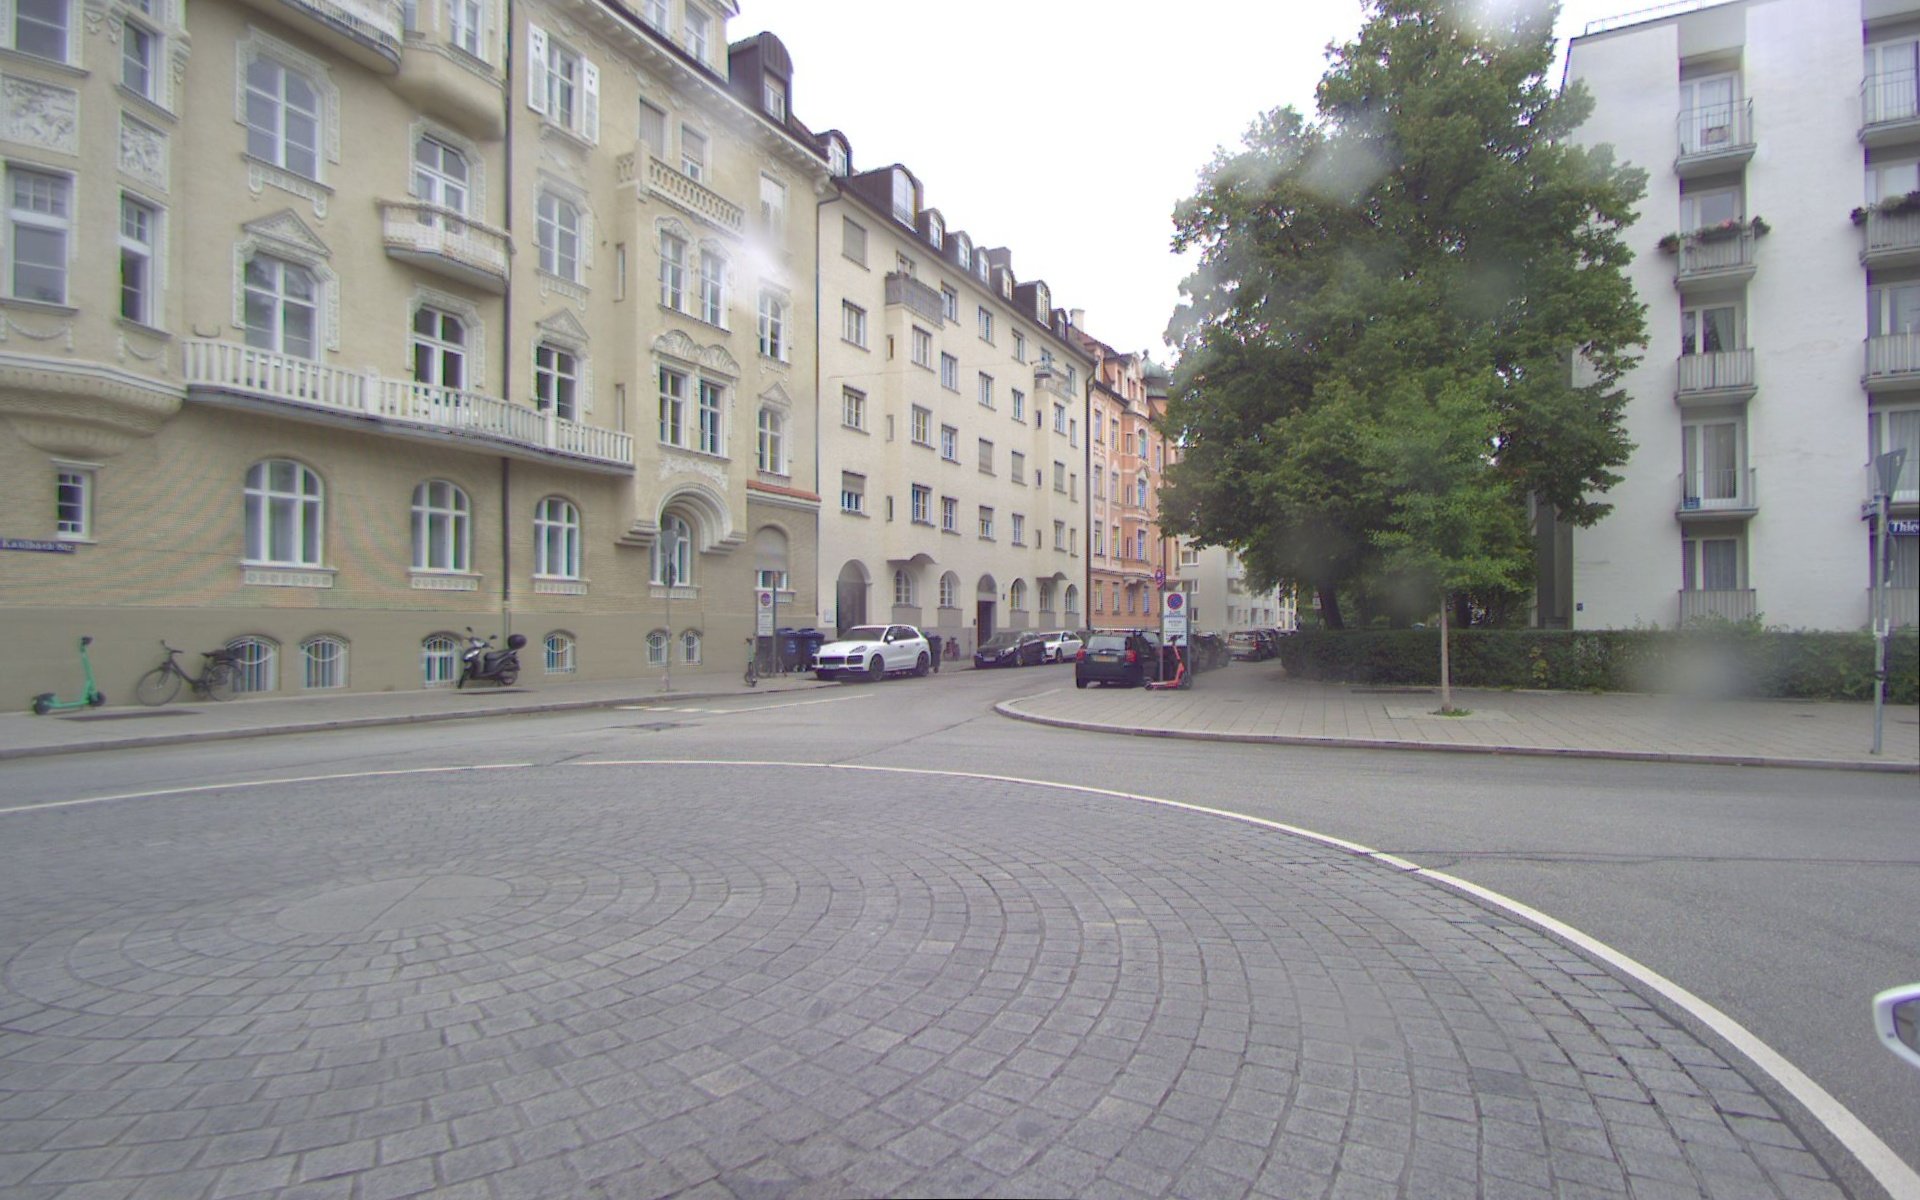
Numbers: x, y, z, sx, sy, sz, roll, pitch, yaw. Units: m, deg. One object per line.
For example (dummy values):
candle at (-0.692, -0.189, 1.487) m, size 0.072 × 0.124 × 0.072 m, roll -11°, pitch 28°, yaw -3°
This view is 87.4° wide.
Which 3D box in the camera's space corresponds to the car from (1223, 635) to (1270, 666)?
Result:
car at (14.710, 2.589, 51.476) m, size 1.644 × 1.476 × 3.673 m, roll -3°, pitch -3°, yaw 26°

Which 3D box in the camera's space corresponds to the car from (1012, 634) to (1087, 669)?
car at (4.034, 2.255, 44.707) m, size 1.963 × 1.469 × 4.176 m, roll 0°, pitch -2°, yaw 26°

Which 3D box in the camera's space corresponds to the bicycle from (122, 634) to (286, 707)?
bicycle at (-13.621, 1.230, 18.198) m, size 0.685 × 1.219 × 2.339 m, roll -1°, pitch -2°, yaw 23°

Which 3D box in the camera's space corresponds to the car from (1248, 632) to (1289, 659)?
car at (17.889, 2.615, 58.151) m, size 1.644 × 1.476 × 3.673 m, roll -3°, pitch -3°, yaw 26°

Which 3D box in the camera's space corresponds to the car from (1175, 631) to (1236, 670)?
car at (10.114, 2.058, 41.167) m, size 1.644 × 1.476 × 3.673 m, roll -3°, pitch -3°, yaw 26°

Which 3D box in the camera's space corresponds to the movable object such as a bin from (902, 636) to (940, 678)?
movable object such as a bin at (-1.337, 1.939, 34.461) m, size 0.935 × 1.419 × 0.917 m, roll 0°, pitch -2°, yaw 30°

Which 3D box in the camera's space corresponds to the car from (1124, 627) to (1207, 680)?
car at (6.539, 1.662, 31.676) m, size 1.644 × 1.548 × 3.673 m, roll -3°, pitch -3°, yaw 26°

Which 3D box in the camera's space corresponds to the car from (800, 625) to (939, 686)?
car at (-2.666, 1.637, 30.959) m, size 1.963 × 1.698 × 4.986 m, roll 0°, pitch -2°, yaw 26°

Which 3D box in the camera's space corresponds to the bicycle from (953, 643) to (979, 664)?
bicycle at (0.273, 2.415, 45.883) m, size 0.641 × 0.914 × 1.815 m, roll 0°, pitch -2°, yaw 19°

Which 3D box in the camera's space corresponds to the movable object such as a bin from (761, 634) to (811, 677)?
movable object such as a bin at (-5.719, 1.818, 33.111) m, size 1.127 × 1.389 × 1.179 m, roll -1°, pitch -2°, yaw 29°

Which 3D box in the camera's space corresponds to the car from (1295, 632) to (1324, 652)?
car at (27.160, 3.270, 77.915) m, size 1.644 × 1.476 × 3.673 m, roll -3°, pitch -3°, yaw 26°

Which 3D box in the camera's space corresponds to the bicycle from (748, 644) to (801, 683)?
bicycle at (-5.454, 1.851, 29.623) m, size 0.641 × 1.083 × 1.976 m, roll 0°, pitch -2°, yaw 19°

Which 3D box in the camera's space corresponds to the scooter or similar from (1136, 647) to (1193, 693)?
scooter or similar at (4.823, 1.645, 23.699) m, size 1.285 × 1.038 × 0.529 m, roll 0°, pitch -1°, yaw 15°

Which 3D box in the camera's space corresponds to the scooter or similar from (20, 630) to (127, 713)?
scooter or similar at (-14.337, 1.135, 16.277) m, size 0.450 × 1.288 × 1.285 m, roll 0°, pitch -1°, yaw 9°

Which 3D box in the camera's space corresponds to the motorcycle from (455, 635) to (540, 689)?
motorcycle at (-10.782, 1.417, 23.470) m, size 0.728 × 1.202 × 1.745 m, roll -1°, pitch -2°, yaw 24°

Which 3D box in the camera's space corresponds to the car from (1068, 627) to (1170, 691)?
car at (4.293, 1.542, 26.736) m, size 1.644 × 1.548 × 3.673 m, roll -3°, pitch -3°, yaw 26°

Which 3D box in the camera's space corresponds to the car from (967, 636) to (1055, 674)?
car at (2.112, 2.173, 40.391) m, size 1.963 × 1.376 × 4.474 m, roll 0°, pitch -2°, yaw 26°

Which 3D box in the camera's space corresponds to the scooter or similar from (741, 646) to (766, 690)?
scooter or similar at (-5.451, 1.781, 26.514) m, size 0.533 × 1.123 × 1.342 m, roll 1°, pitch -2°, yaw -17°

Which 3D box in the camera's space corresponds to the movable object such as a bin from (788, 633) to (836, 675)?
movable object such as a bin at (-5.033, 1.831, 34.135) m, size 1.127 × 1.389 × 1.179 m, roll -1°, pitch -2°, yaw 29°

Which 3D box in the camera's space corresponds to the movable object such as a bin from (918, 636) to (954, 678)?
movable object such as a bin at (-0.845, 1.991, 35.270) m, size 0.935 × 1.419 × 0.917 m, roll 0°, pitch -2°, yaw 30°

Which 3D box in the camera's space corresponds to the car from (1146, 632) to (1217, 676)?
car at (8.035, 1.927, 36.208) m, size 1.644 × 1.476 × 3.673 m, roll -3°, pitch -3°, yaw 26°
